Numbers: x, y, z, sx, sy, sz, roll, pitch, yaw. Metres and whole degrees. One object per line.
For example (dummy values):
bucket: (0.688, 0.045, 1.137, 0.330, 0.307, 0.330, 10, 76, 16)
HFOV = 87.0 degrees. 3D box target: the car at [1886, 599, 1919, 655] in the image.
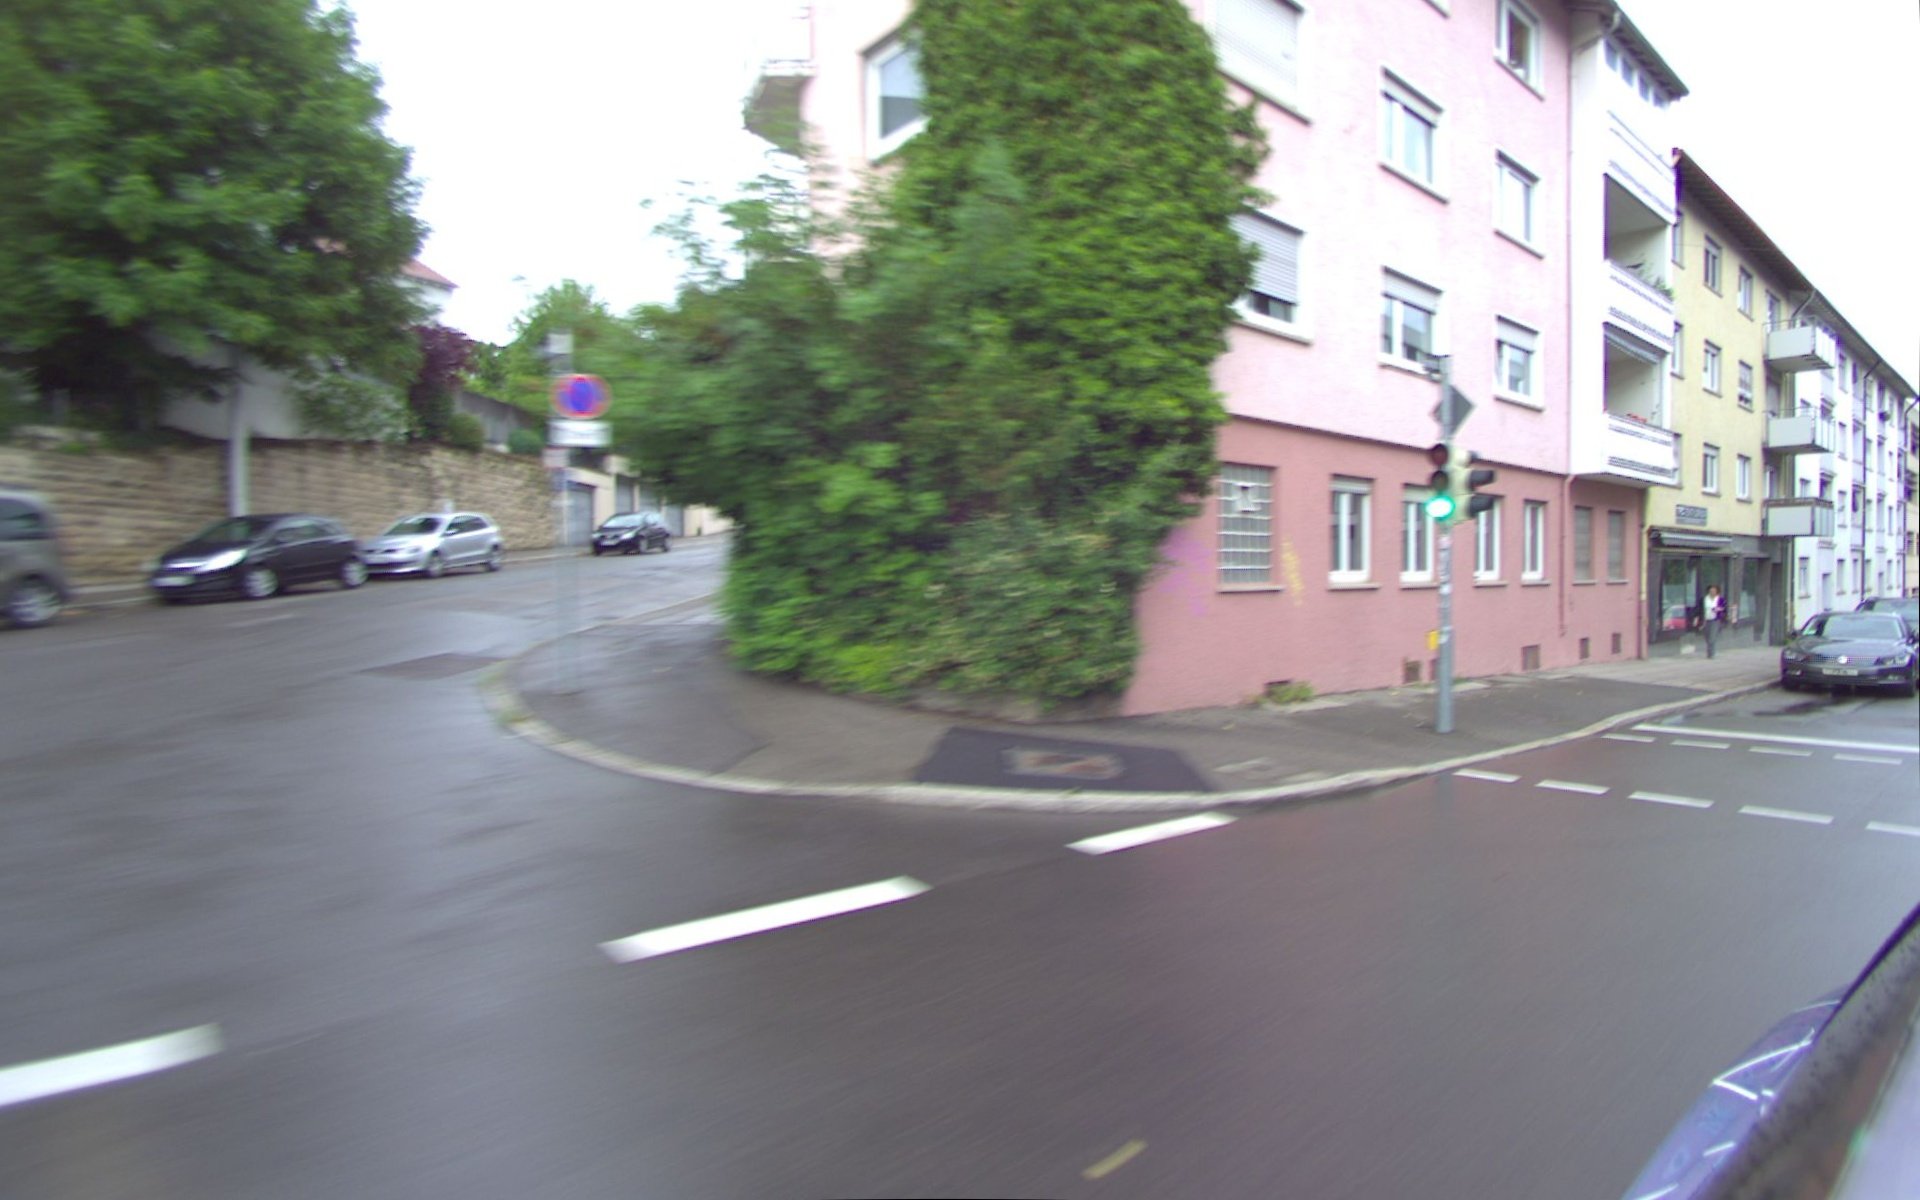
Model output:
car: (26.712, 0.721, 27.742, 3.423, 1.475, 1.629, 0, 0, -41)

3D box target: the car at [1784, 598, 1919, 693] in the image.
car: (16.930, 0.758, 18.811, 4.434, 1.539, 1.795, 0, 0, -41)

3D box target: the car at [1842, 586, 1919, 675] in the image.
car: (21.102, 0.631, 22.278, 4.434, 1.796, 1.966, 0, 0, -41)

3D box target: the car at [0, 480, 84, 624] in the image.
car: (-12.654, -0.503, 11.304, 1.792, 1.760, 4.417, 1, 5, 2)

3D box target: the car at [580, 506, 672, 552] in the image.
car: (-11.439, -2.495, 34.984, 1.652, 1.471, 4.342, -1, 5, 1)

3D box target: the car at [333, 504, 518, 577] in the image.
car: (-12.270, -1.458, 23.602, 1.654, 1.470, 4.338, 0, 6, 6)

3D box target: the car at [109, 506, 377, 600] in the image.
car: (-12.503, -0.907, 18.014, 1.767, 1.471, 4.001, 1, 5, 3)

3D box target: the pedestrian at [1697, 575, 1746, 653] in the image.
pedestrian: (18.294, 0.332, 24.307, 0.735, 1.795, 0.715, 1, 3, -41)
